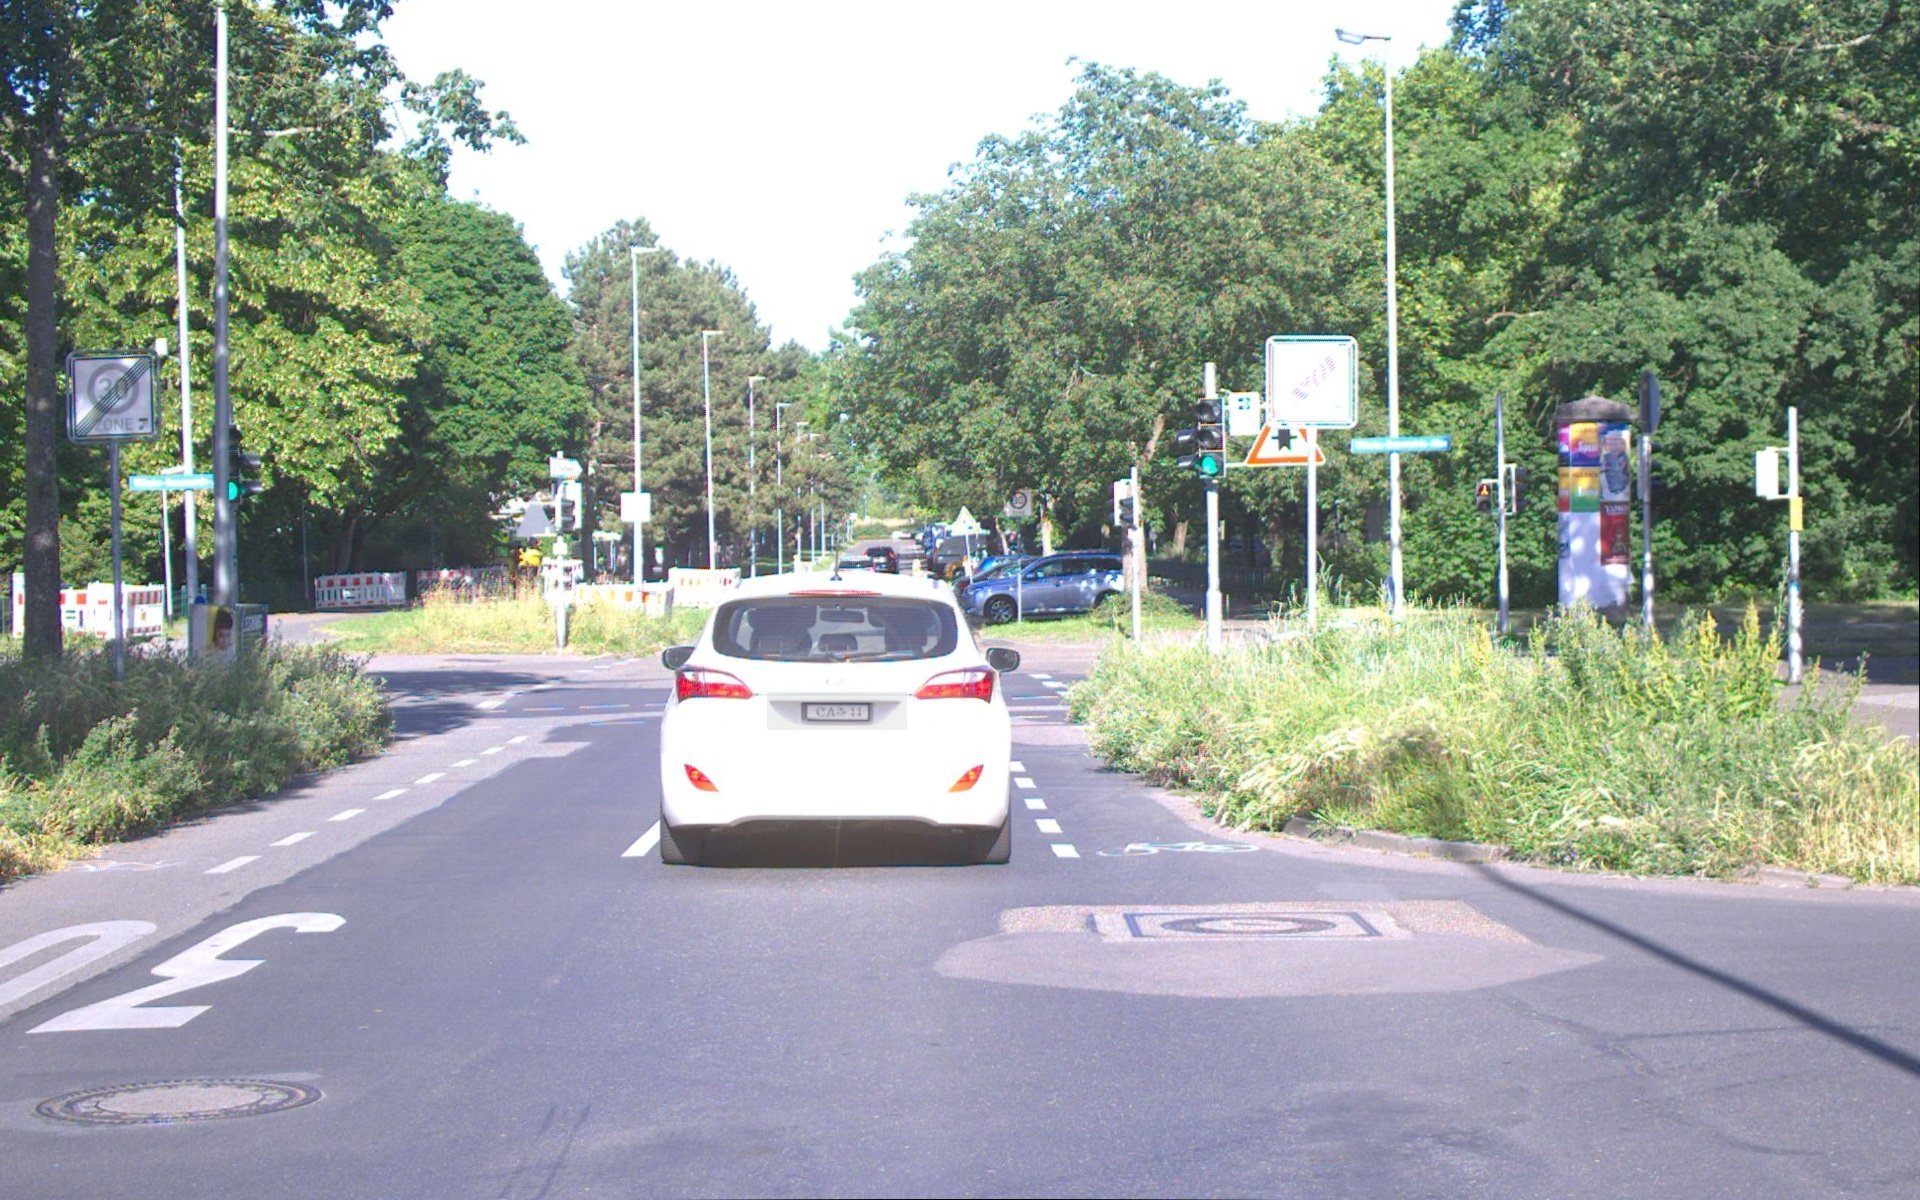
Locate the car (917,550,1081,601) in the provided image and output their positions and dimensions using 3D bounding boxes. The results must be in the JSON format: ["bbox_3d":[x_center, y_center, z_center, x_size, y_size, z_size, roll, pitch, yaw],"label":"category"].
[{"bbox_3d":[1.332,-0.848,119.411,5.613,1.678,1.948,1,0,-1],"label":"car"}]

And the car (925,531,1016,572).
[{"bbox_3d":[0.473,-2.281,163.593,4.301,1.901,1.863,1,0,-1],"label":"car"}]

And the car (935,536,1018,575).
[{"bbox_3d":[0.753,-2.089,160.448,3.819,1.761,1.863,1,0,-1],"label":"car"}]

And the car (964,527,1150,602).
[{"bbox_3d":[2.371,-0.870,84.250,4.499,1.777,1.855,-1,1,2],"label":"car"}]

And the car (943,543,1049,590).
[{"bbox_3d":[1.302,-1.222,126.246,3.819,1.678,1.863,1,0,-1],"label":"car"}]

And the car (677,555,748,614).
[{"bbox_3d":[-7.782,-0.490,108.309,1.993,1.809,4.000,1,0,-1],"label":"car"}]

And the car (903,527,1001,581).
[{"bbox_3d":[-0.321,-1.816,136.267,3.819,2.091,1.863,1,0,-1],"label":"car"}]

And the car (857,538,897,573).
[{"bbox_3d":[-4.348,-2.338,180.191,1.993,1.809,4.000,1,0,-1],"label":"car"}]

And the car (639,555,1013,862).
[{"bbox_3d":[-0.681,0.498,18.506,1.789,1.458,3.964,0,1,-1],"label":"car"}]

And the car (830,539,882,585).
[{"bbox_3d":[-4.192,-1.524,138.636,1.993,1.809,4.000,1,1,-1],"label":"car"}]

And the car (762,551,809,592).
[{"bbox_3d":[-7.935,-1.317,156.605,1.993,1.809,4.000,0,1,-1],"label":"car"}]

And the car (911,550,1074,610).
[{"bbox_3d":[0.927,-0.563,96.259,4.499,1.624,1.855,-1,1,2],"label":"car"}]
